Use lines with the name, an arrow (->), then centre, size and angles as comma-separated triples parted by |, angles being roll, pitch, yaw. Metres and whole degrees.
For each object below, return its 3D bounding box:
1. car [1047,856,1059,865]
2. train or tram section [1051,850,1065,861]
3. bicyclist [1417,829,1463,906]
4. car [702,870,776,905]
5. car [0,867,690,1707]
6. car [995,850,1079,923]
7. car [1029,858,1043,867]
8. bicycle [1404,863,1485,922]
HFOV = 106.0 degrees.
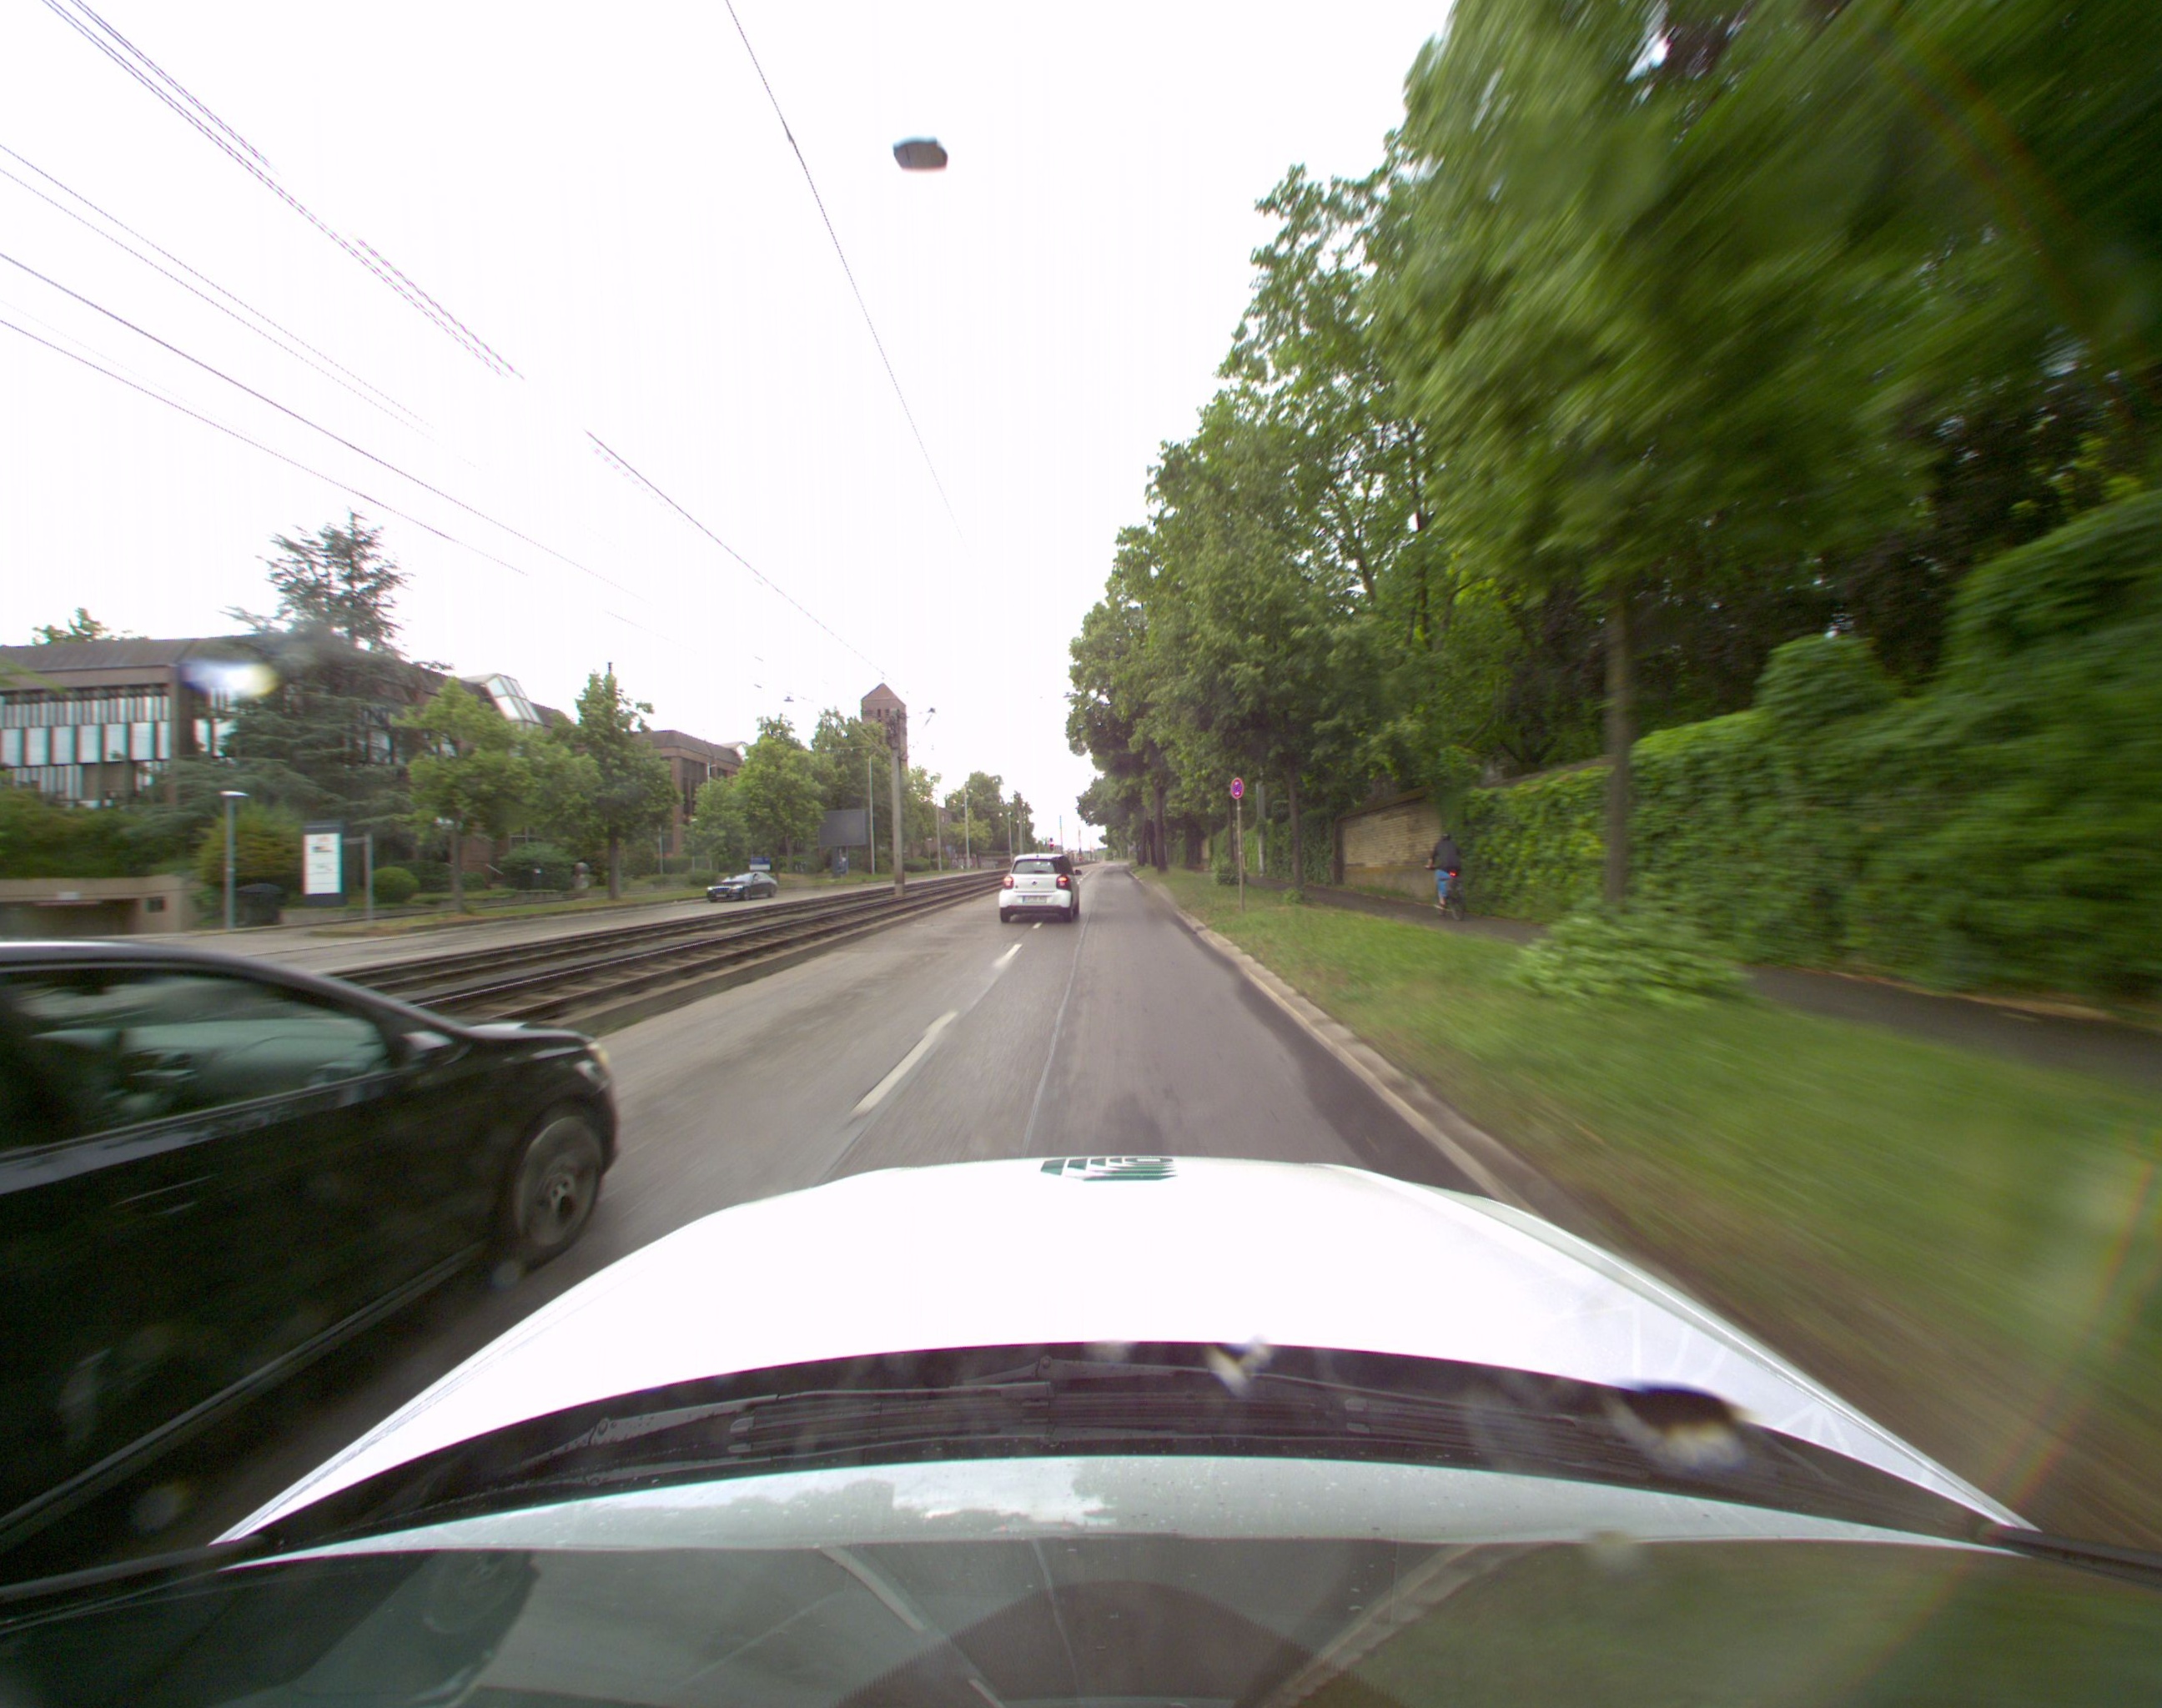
car -> -5.593, 1.308, 164.686 | 1.825, 1.656, 4.246 | -3, 0, 6
train or tram section -> -7.437, 0.448, 260.879 | 2.833, 3.605, 9.235 | -1, 0, -11
bicyclist -> 6.709, 0.253, 15.240 | 0.532, 1.389, 0.667 | -3, 0, 5
car -> -17.732, 1.676, 42.451 | 1.788, 1.530, 4.622 | -3, 0, 0
car -> -2.910, 0.870, 2.077 | 1.788, 1.485, 3.965 | -3, 0, 1
car -> -0.974, 0.705, 19.857 | 1.670, 1.531, 3.723 | -3, 0, 1
car -> -8.903, 1.750, 163.023 | 2.003, 1.656, 4.624 | -3, 0, 6
bicycle -> 6.711, 0.678, 15.192 | 0.540, 0.948, 2.553 | -3, 0, 5
